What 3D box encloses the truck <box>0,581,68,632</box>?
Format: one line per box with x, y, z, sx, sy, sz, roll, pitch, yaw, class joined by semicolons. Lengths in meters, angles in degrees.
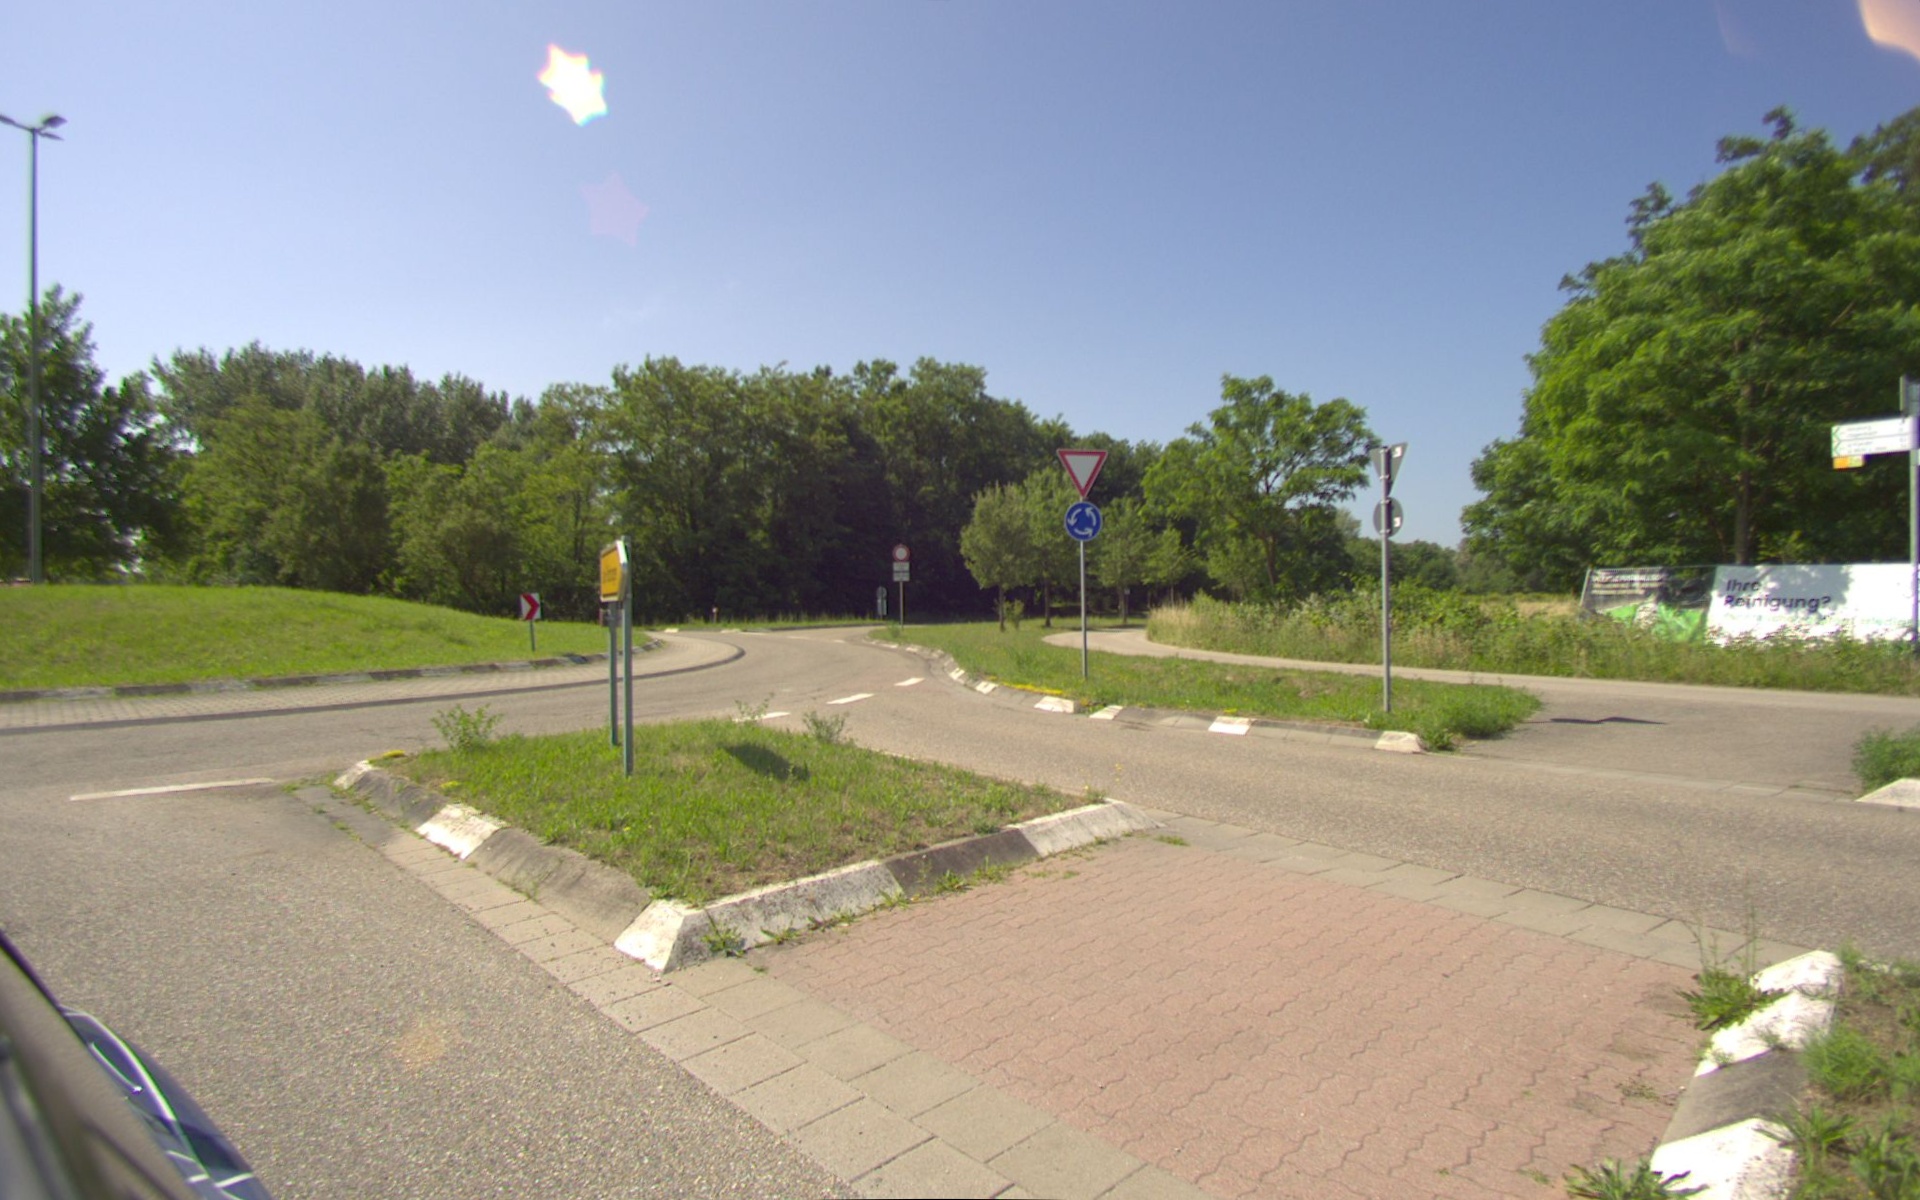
-56.206;0.385;60.537;2.439;2.852;9.085;-1;0;-30;truck
